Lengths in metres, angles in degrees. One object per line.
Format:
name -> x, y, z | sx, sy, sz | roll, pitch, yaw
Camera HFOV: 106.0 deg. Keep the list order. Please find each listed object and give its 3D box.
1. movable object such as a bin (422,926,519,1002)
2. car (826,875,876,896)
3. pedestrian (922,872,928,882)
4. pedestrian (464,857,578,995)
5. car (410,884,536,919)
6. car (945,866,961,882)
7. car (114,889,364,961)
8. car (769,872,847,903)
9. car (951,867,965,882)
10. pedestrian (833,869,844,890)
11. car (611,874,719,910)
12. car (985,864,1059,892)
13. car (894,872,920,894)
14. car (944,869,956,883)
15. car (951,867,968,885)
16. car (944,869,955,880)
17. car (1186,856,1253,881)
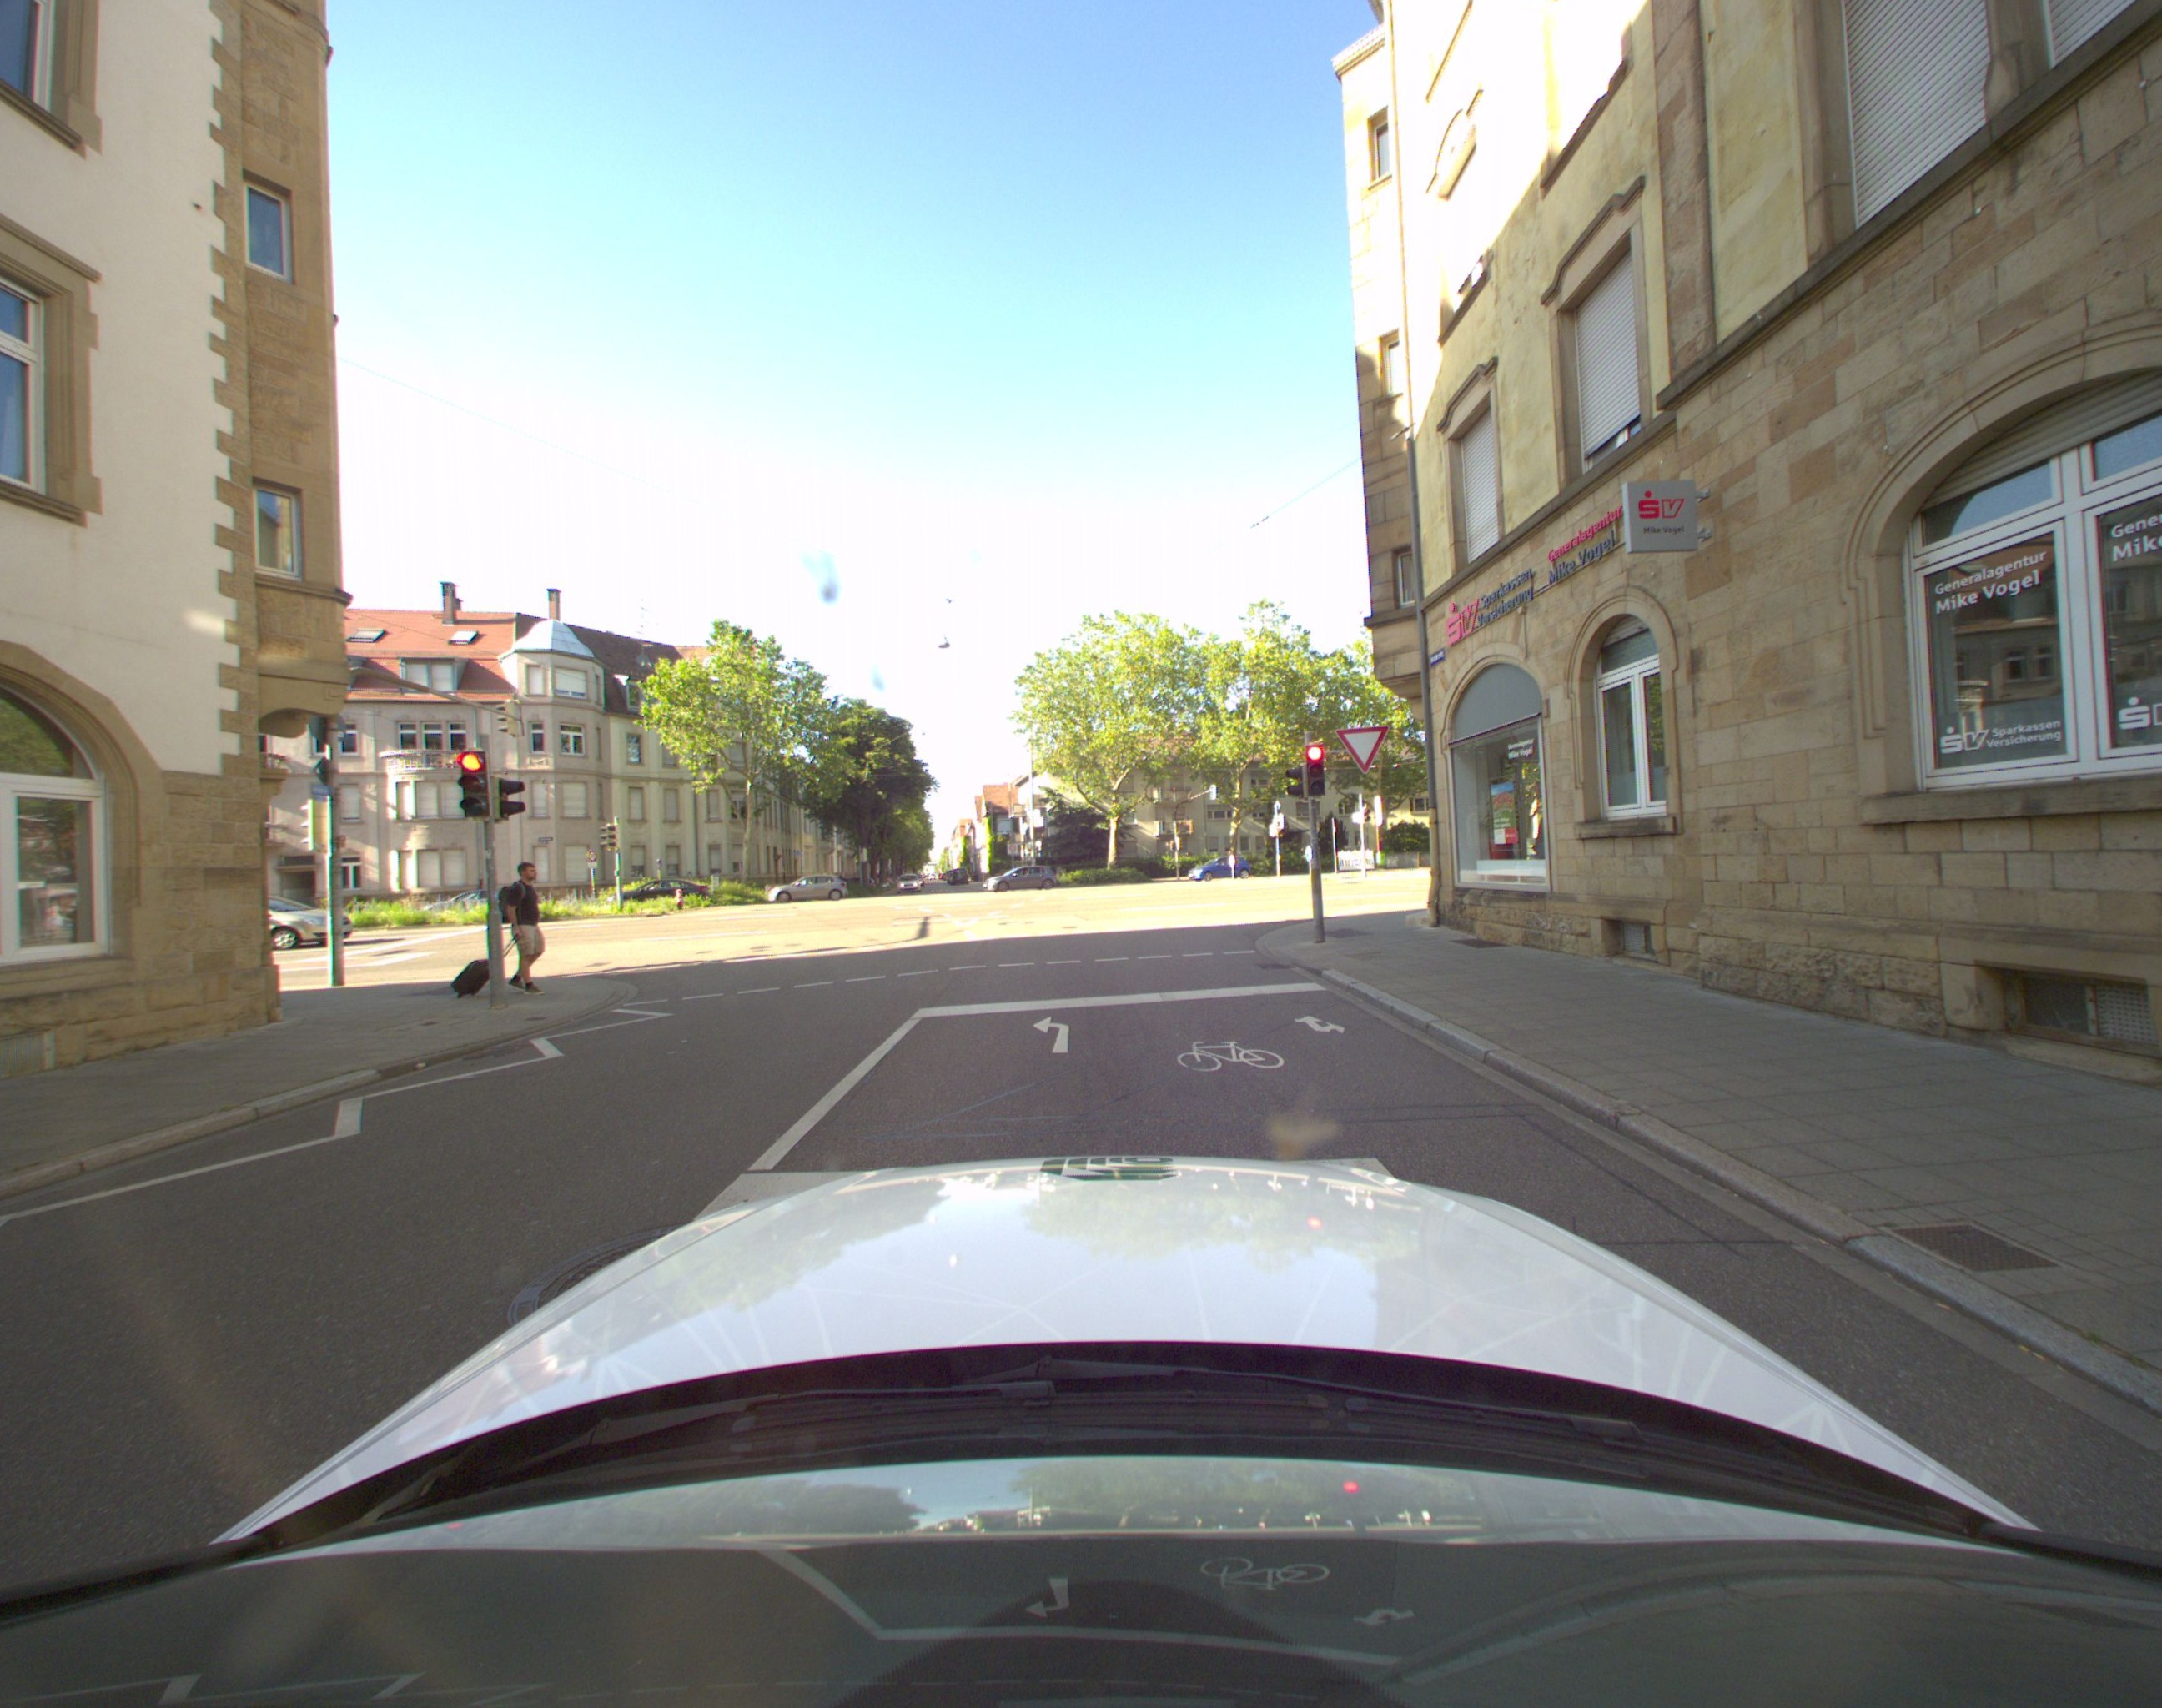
movable object such as a bin -> -8.140, 1.450, 10.877 | 0.862, 0.892, 0.507 | -3, 0, -11
car -> -17.950, 2.468, 63.717 | 3.636, 1.457, 1.650 | -2, 0, -14
pedestrian -> -27.020, 3.928, 141.062 | 0.771, 1.668, 0.633 | 0, -1, 4
pedestrian -> -7.833, 0.976, 11.441 | 1.066, 1.849, 0.746 | 1, -1, -11
car -> -28.292, 2.203, 38.045 | 4.399, 1.316, 1.636 | -2, 0, -18
car -> -16.564, 2.549, 105.206 | 1.773, 1.918, 3.522 | -4, 0, -10
car -> -21.923, 1.808, 21.413 | 4.212, 1.456, 1.669 | -3, 0, -17
car -> -14.407, 1.752, 43.080 | 3.793, 1.400, 1.635 | -2, 0, -20
car -> -17.556, 2.893, 115.849 | 1.773, 1.918, 3.522 | -4, 0, -10
pedestrian -> -17.077, 1.817, 57.334 | 0.706, 1.442, 0.486 | 0, -1, -24
car -> -19.381, 1.749, 38.113 | 4.281, 1.400, 1.635 | -2, 0, -20
car -> -3.401, 1.344, 46.836 | 3.952, 1.400, 1.635 | -2, 0, -20
car -> -13.592, 2.265, 63.820 | 1.698, 1.483, 3.522 | -4, 0, -10
car -> -20.742, 3.479, 128.818 | 1.773, 1.918, 3.522 | -4, 0, -10
car -> -14.181, 2.514, 95.013 | 1.773, 1.918, 3.522 | -4, 0, -10
car -> -23.751, 3.704, 147.187 | 1.773, 1.918, 3.522 | -4, 0, -10
car -> 8.660, 0.879, 50.931 | 3.786, 1.400, 1.638 | -2, 0, -14
